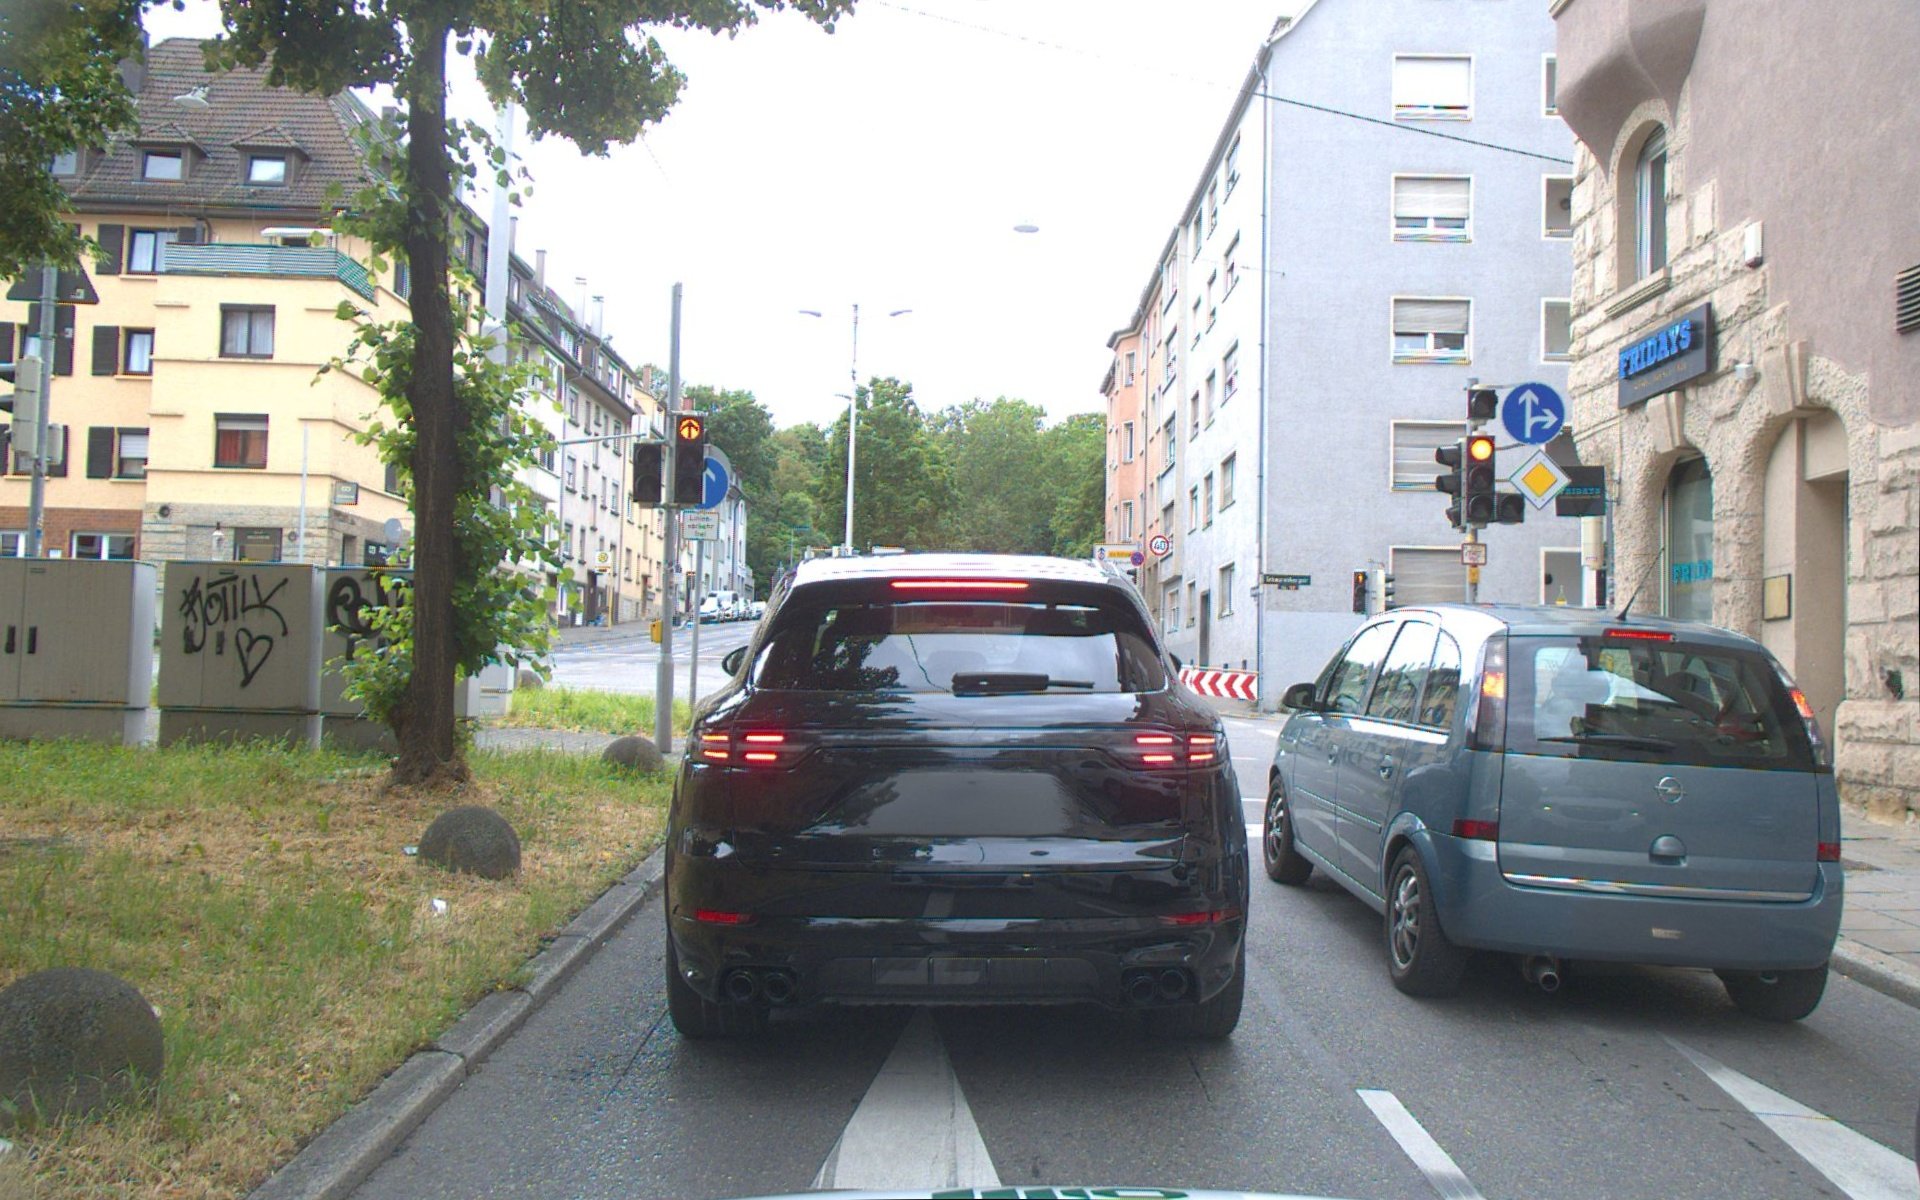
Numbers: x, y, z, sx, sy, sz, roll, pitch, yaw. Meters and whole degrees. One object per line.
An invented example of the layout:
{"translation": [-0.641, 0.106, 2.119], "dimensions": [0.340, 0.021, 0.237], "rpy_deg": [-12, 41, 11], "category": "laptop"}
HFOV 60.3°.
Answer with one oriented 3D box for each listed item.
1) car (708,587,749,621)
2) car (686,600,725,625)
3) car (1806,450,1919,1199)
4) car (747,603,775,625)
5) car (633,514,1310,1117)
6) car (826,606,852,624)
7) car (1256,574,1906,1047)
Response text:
{"translation": [-14.579, 0.264, 104.402], "dimensions": [1.975, 2.081, 4.666], "rpy_deg": [1, 0, 0], "category": "car"}
{"translation": [-15.162, 0.746, 98.618], "dimensions": [1.703, 1.411, 3.813], "rpy_deg": [1, 0, 0], "category": "car"}
{"translation": [2.879, 0.673, 1.190], "dimensions": [1.936, 1.806, 4.674], "rpy_deg": [4, 0, -2], "category": "car"}
{"translation": [-14.953, 1.043, 124.692], "dimensions": [1.655, 1.565, 3.813], "rpy_deg": [1, 0, 0], "category": "car"}
{"translation": [0.010, 0.622, 6.701], "dimensions": [1.916, 1.704, 3.999], "rpy_deg": [0, 0, -1], "category": "car"}
{"translation": [-9.765, 1.185, 133.726], "dimensions": [1.824, 1.412, 4.094], "rpy_deg": [1, 0, 0], "category": "car"}
{"translation": [2.616, 0.781, 7.905], "dimensions": [1.596, 1.625, 3.668], "rpy_deg": [4, 0, -1], "category": "car"}
